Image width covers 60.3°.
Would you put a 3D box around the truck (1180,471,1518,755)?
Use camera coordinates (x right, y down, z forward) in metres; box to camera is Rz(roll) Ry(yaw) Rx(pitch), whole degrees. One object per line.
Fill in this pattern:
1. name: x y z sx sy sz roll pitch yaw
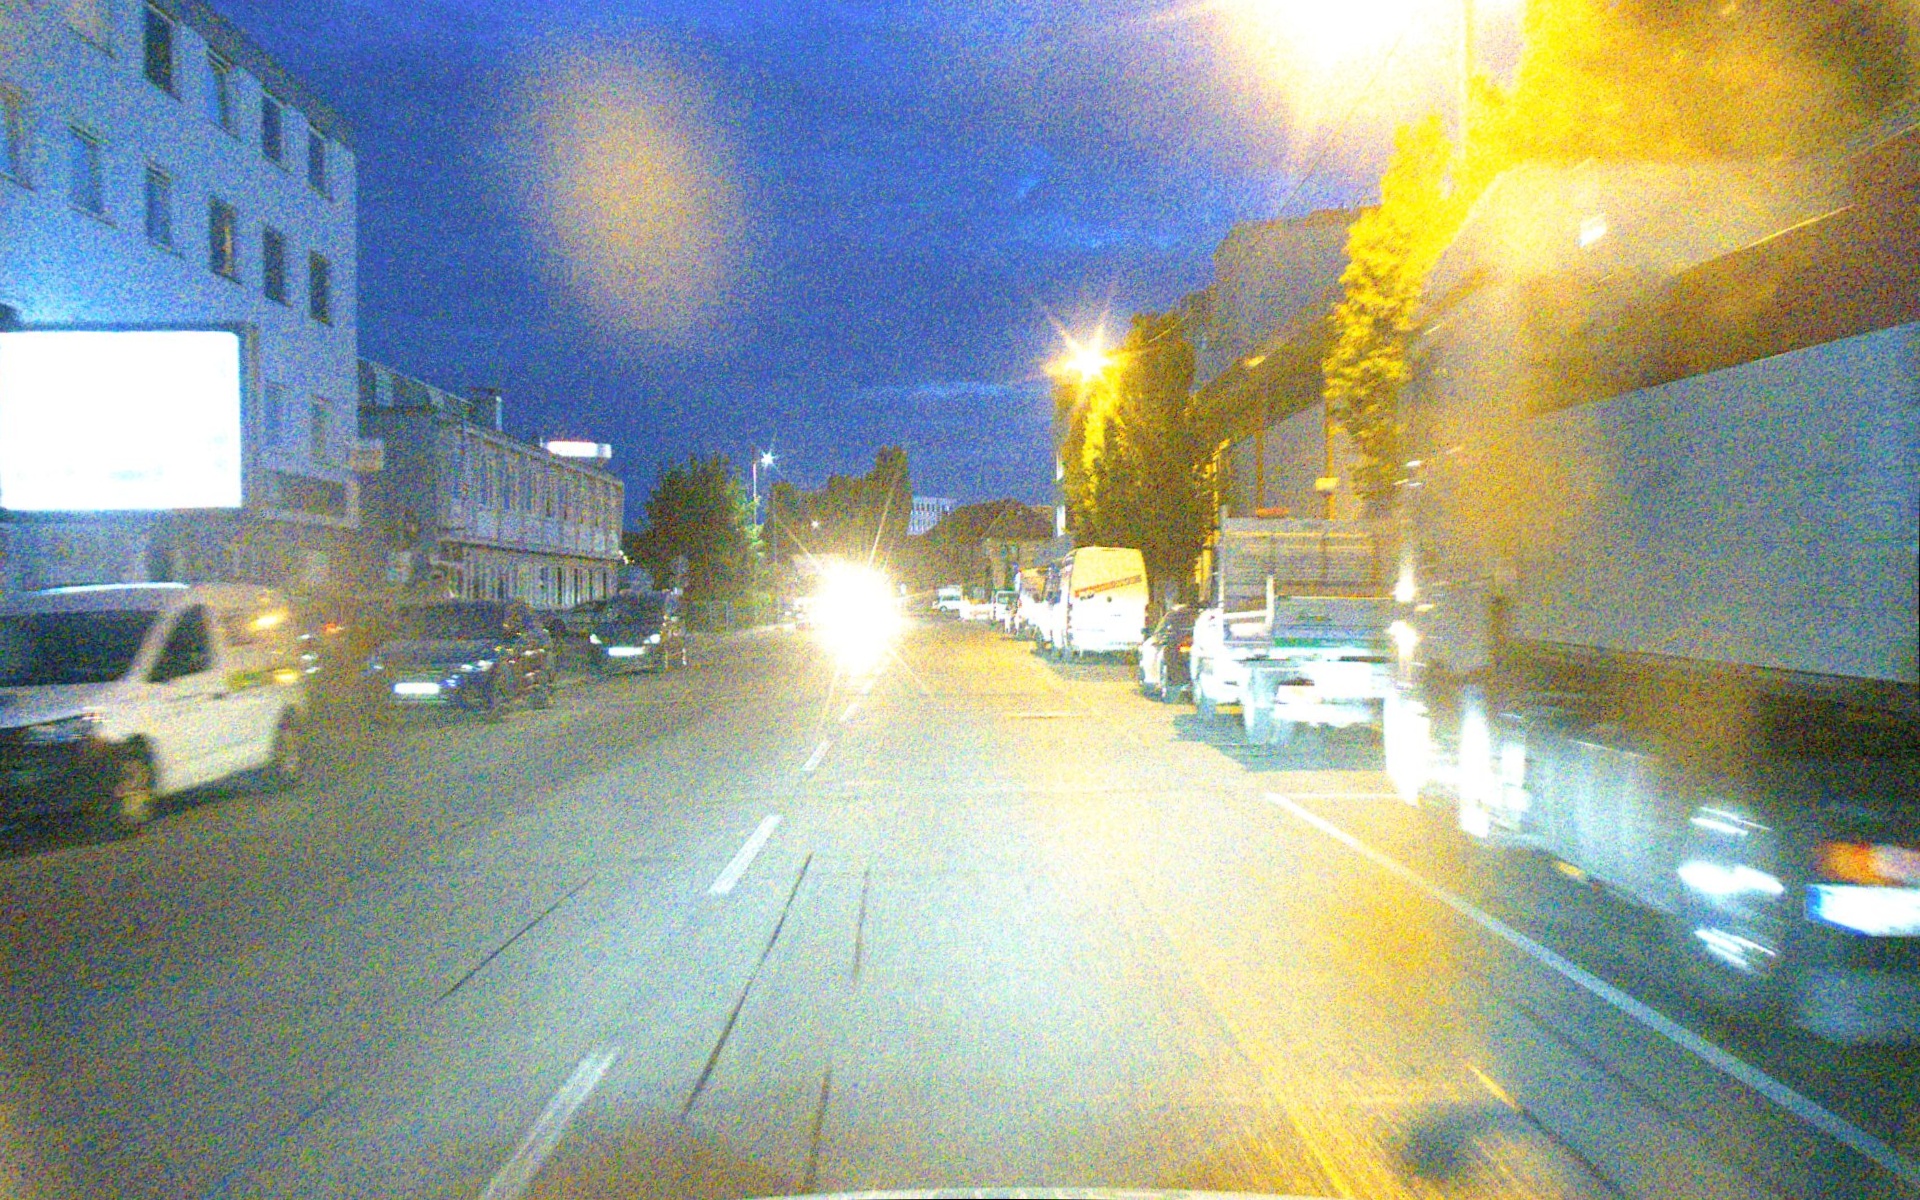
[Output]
1. truck: 4.062 0.133 18.710 2.352 2.639 6.597 0 0 1

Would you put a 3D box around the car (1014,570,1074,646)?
1. car: 3.043 0.305 60.986 1.952 2.570 5.910 2 0 1

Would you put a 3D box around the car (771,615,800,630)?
1. car: -16.085 2.060 152.075 1.786 1.395 4.337 0 0 -18

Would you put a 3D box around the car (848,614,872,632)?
1. car: -8.063 1.833 133.513 1.820 1.445 3.998 0 -1 -2

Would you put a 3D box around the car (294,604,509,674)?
1. car: -12.532 0.841 37.178 4.354 1.465 1.775 0 -1 -30

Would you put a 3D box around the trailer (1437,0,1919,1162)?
1. trailer: 3.958 -0.438 1.504 2.709 3.830 14.653 1 -1 0

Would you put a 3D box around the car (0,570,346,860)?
1. car: -6.565 0.741 12.875 1.767 1.830 4.877 -1 0 0

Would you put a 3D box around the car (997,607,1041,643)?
1. car: 2.621 1.088 74.061 1.906 1.515 5.011 -1 0 1

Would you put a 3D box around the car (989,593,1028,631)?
1. car: 2.710 0.674 93.213 1.953 2.049 4.910 -1 0 -1

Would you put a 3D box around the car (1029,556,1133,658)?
1. car: 3.360 0.196 47.022 2.086 2.616 5.905 2 0 -4

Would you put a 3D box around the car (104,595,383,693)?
1. car: -12.509 0.736 29.024 4.345 1.587 1.984 0 -1 -26

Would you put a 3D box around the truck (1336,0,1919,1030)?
1. truck: 3.904 -0.360 8.474 2.709 3.830 5.227 1 -1 -1

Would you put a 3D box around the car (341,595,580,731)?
1. car: -6.949 0.812 23.586 1.907 1.718 4.816 -1 0 0

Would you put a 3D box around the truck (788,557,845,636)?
1. truck: -7.756 -0.140 90.520 2.691 4.105 9.554 0 -1 -3

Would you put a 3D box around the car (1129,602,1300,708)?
1. car: 3.839 0.784 25.749 1.792 1.432 4.907 2 0 -1

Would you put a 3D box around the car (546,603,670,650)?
1. car: -13.141 0.962 61.751 4.042 1.457 1.897 4 1 17

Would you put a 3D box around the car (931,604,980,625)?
1. car: -0.422 1.360 155.720 4.268 1.675 1.879 -3 1 -23

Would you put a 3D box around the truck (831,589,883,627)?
1. truck: -10.745 0.836 172.097 2.716 3.849 9.077 -1 -1 -21

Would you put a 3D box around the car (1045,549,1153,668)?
1. car: 3.286 0.203 40.278 1.953 2.616 6.012 2 0 -1

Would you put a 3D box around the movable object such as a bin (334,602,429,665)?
1. movable object such as a bin: -14.460 0.826 41.429 1.819 1.526 1.609 0 -1 -1

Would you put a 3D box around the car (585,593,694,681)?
1. car: -7.350 0.827 38.276 1.777 1.881 4.413 -1 -1 -2

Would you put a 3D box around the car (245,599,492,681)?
1. car: -12.330 0.806 34.526 4.607 1.578 1.980 0 -1 -30
